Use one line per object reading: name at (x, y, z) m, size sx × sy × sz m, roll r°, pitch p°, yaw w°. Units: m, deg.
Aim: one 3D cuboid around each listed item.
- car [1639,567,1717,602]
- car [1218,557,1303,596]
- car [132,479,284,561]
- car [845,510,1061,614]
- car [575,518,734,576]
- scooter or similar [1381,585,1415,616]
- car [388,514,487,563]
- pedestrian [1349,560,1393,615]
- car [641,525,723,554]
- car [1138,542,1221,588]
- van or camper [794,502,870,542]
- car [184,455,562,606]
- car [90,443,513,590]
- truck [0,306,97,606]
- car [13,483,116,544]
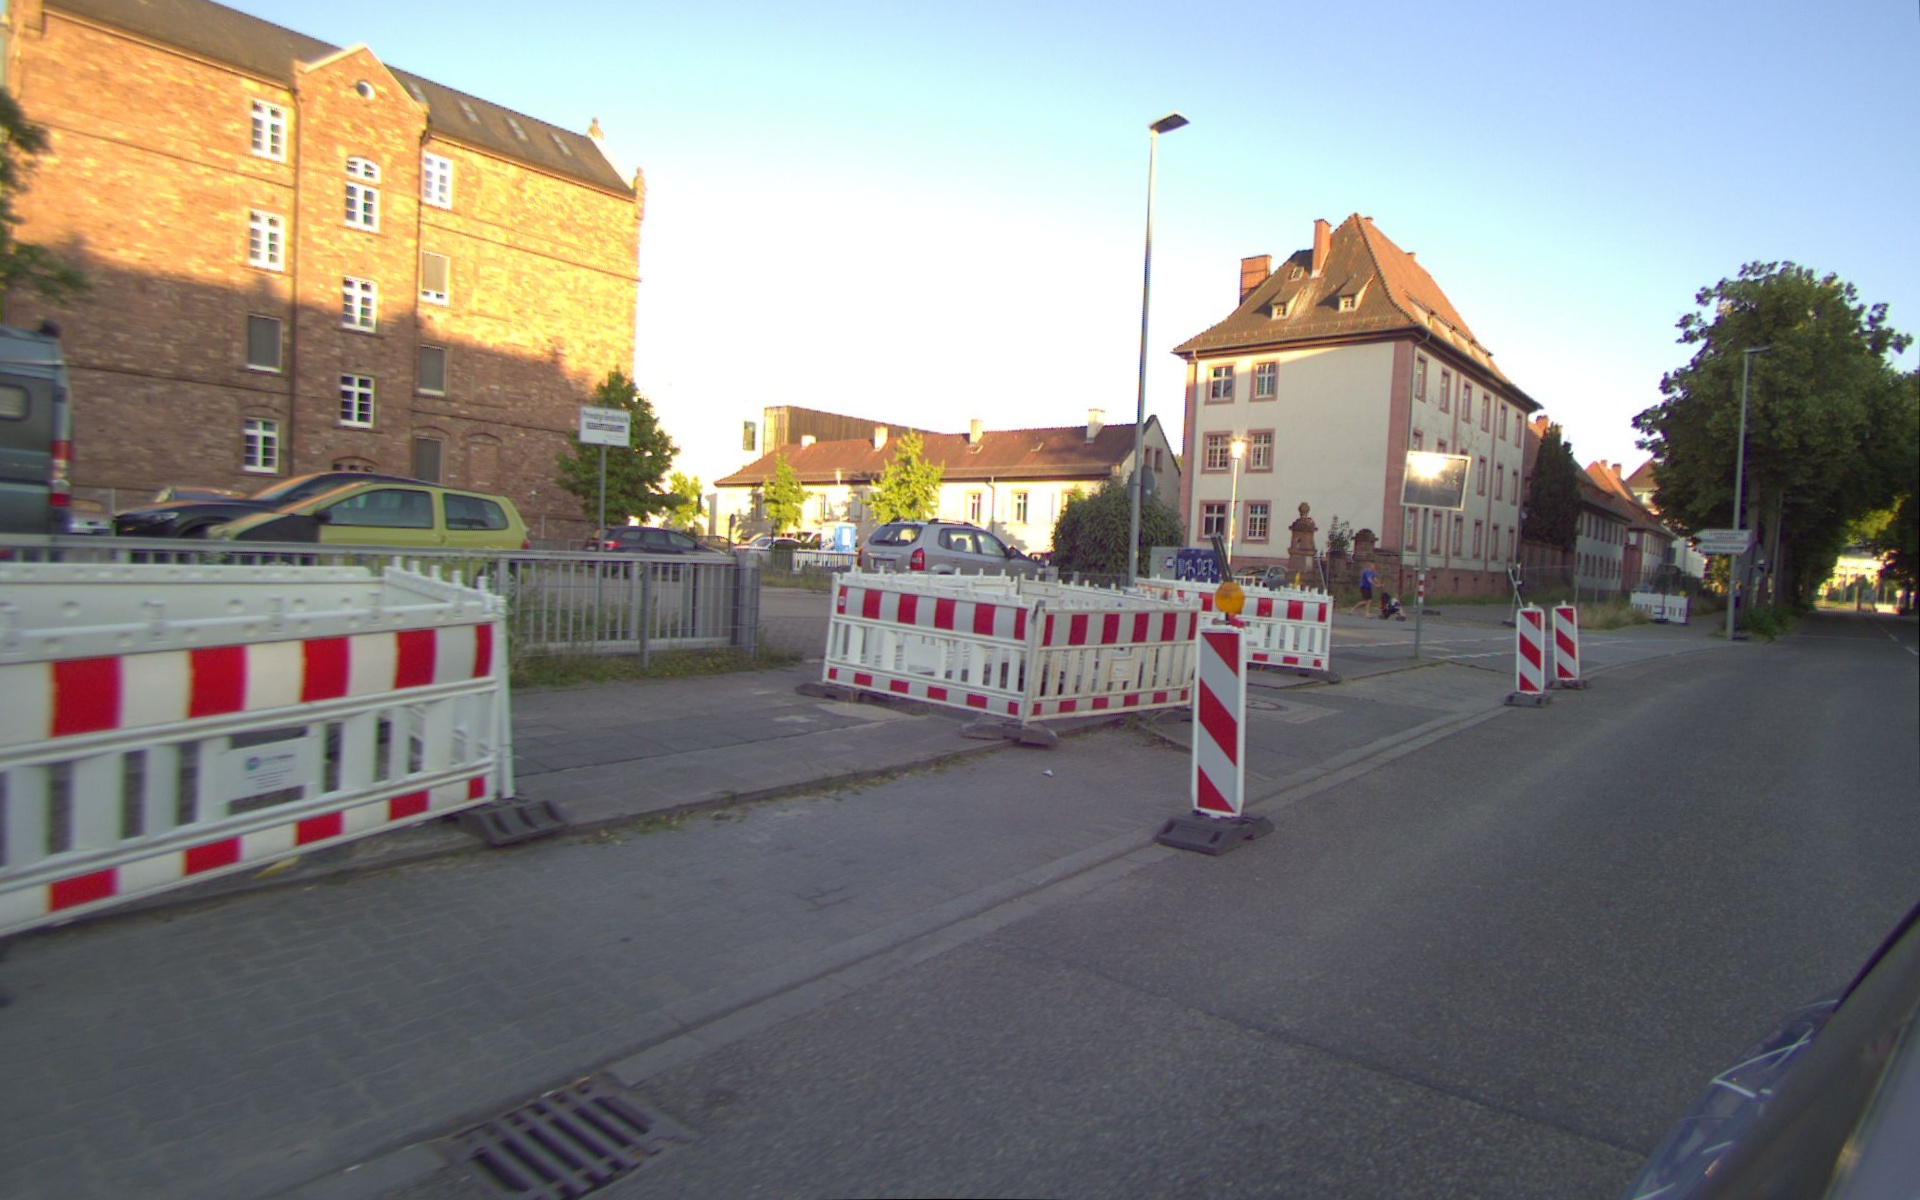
car at (46.942, -1.048, 66.217) m, size 3.981 × 2.038 × 1.973 m, roll 5°, pitch 4°, yaw 38°
car at (12.470, -0.957, 41.858) m, size 1.991 × 1.477 × 3.944 m, roll 5°, pitch 3°, yaw 39°
car at (-16.713, -1.784, 22.402) m, size 4.352 × 1.595 × 1.969 m, roll 6°, pitch 4°, yaw 43°
car at (-0.024, -0.714, 19.276) m, size 1.697 × 1.729 × 4.219 m, roll 5°, pitch 4°, yaw 41°
car at (-8.723, -1.500, 29.121) m, size 1.638 × 1.500 × 4.073 m, roll 5°, pitch 4°, yaw 44°
scooter or similar at (13.566, 0.017, 31.315) m, size 0.804 × 0.901 × 0.507 m, roll 5°, pitch 3°, yaw 43°
car at (-18.875, -2.222, 36.493) m, size 4.167 × 1.556 × 1.873 m, roll 6°, pitch 4°, yaw 43°
pedestrian at (13.015, -0.399, 32.052) m, size 1.012 × 1.662 × 0.740 m, roll 5°, pitch 3°, yaw 44°
car at (-15.554, -3.365, 56.706) m, size 2.057 × 1.329 × 3.940 m, roll 6°, pitch 3°, yaw 41°
car at (9.859, -1.552, 45.255) m, size 1.991 × 1.881 × 3.944 m, roll 4°, pitch 3°, yaw 39°
van or camper at (-8.017, -4.902, 63.967) m, size 1.679 × 2.267 × 4.909 m, roll 4°, pitch 3°, yaw 39°
car at (-6.867, -0.765, 12.055) m, size 1.633 × 1.522 × 3.585 m, roll 5°, pitch 4°, yaw 44°
car at (-8.635, -1.012, 13.604) m, size 1.571 × 1.657 × 4.525 m, roll 5°, pitch 4°, yaw 44°
truck at (-10.644, -1.453, 10.321) m, size 4.959 × 2.648 × 2.305 m, roll 6°, pitch 4°, yaw 44°
car at (-25.853, -2.511, 29.170) m, size 4.167 × 1.556 × 1.873 m, roll 6°, pitch 4°, yaw 43°
